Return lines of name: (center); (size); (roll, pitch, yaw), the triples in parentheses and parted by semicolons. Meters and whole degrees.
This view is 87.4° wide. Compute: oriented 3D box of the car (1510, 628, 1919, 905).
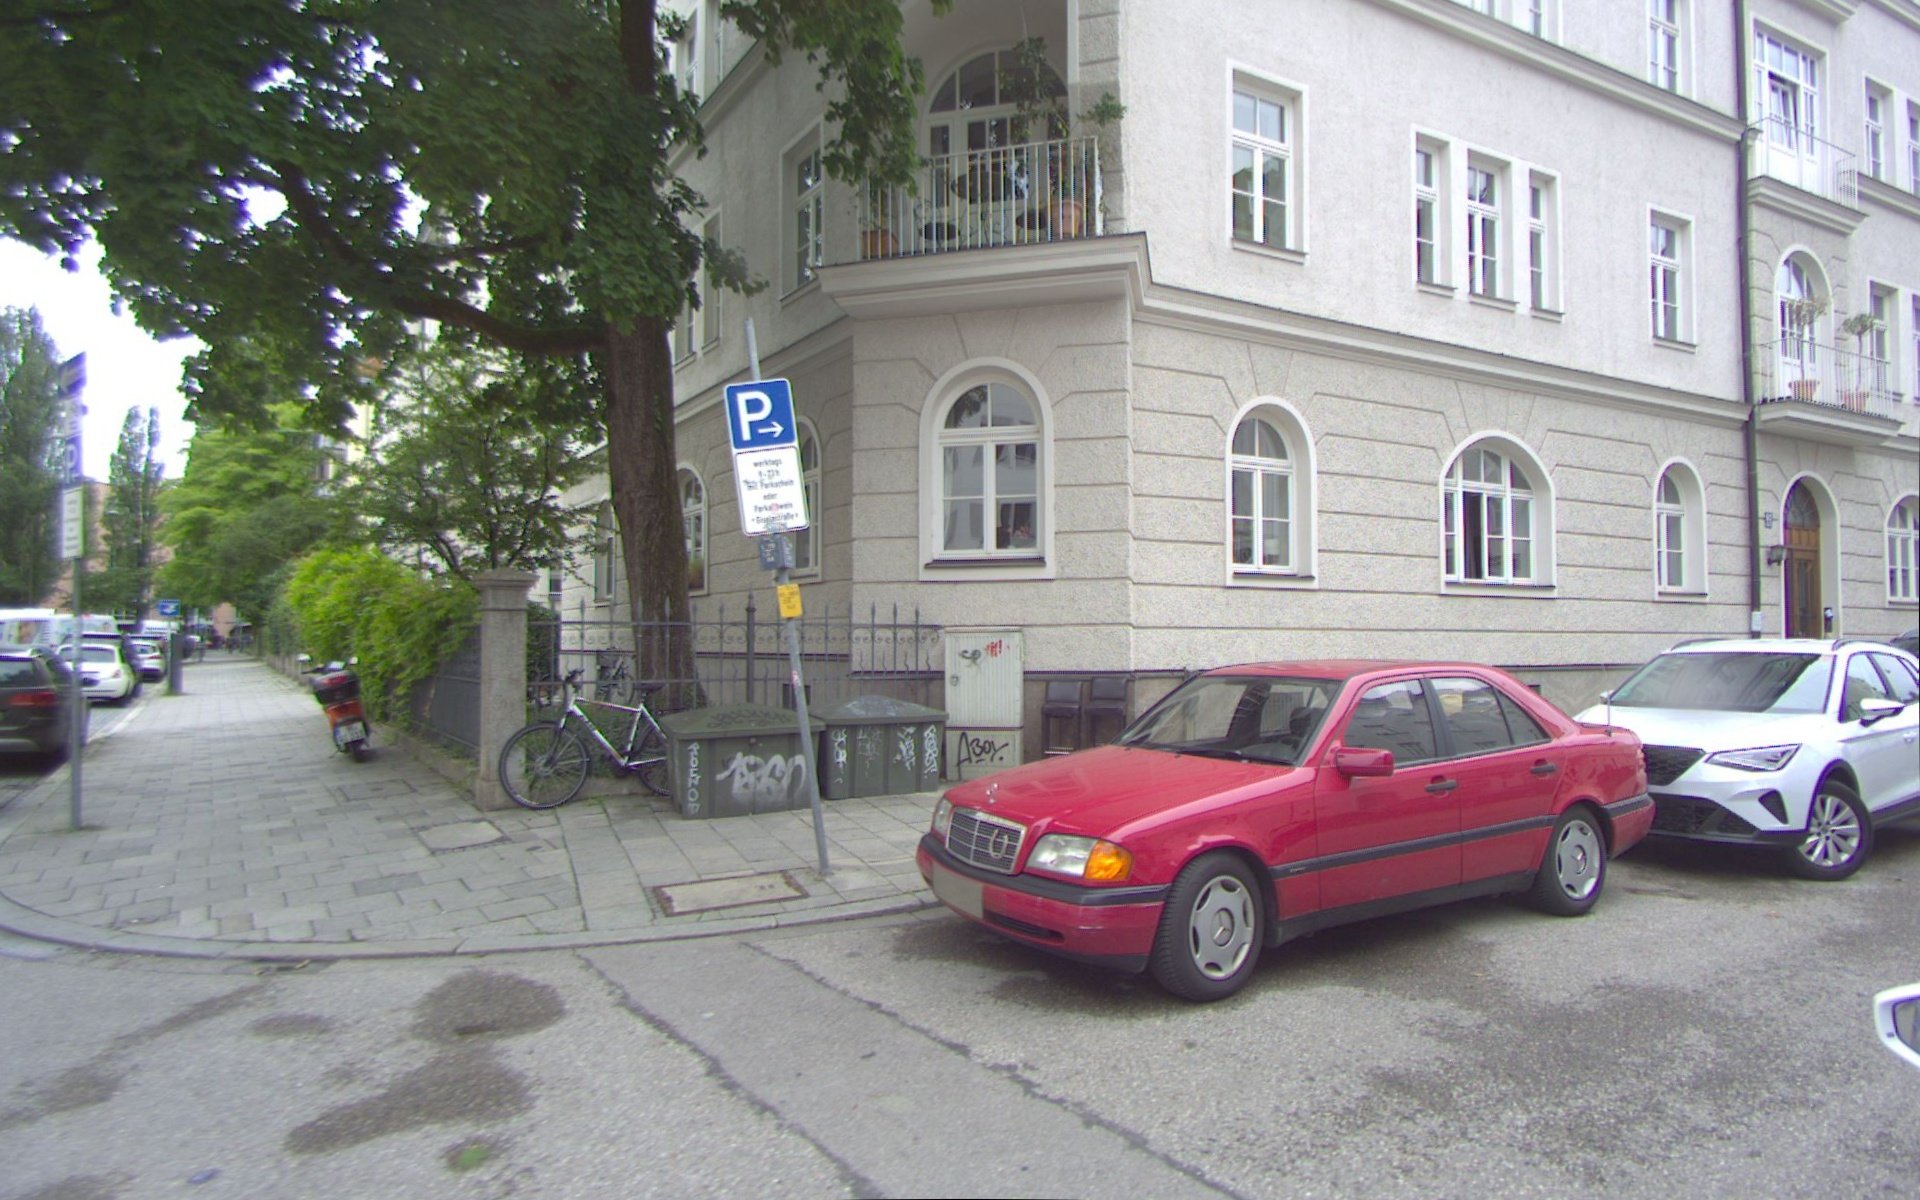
car: (6.064, 1.021, 7.561); (3.907, 1.588, 1.685); (1, -2, -32)

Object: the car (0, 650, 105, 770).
car: (-12.608, 1.354, 13.173); (1.777, 1.379, 3.960); (2, -3, -36)

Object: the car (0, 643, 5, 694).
car: (-25.808, 1.794, 25.495); (1.765, 1.393, 4.385); (1, -3, -37)

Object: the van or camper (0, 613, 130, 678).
van or camper: (-30.691, 1.504, 33.905); (4.536, 2.071, 2.099); (0, -2, 21)

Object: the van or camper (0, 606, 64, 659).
van or camper: (-51.225, 1.793, 55.404); (2.056, 2.822, 4.386); (0, -2, -33)

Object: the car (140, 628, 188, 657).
car: (-43.908, 2.337, 55.450); (1.982, 1.572, 3.957); (1, -3, -38)

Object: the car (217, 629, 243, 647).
car: (-73.253, 3.833, 100.830); (1.982, 1.806, 3.957); (1, -3, -38)

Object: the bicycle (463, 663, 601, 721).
bicycle: (-7.061, 1.506, 16.623); (1.934, 0.912, 0.858); (-1, -2, 10)

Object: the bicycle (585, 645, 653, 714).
bicycle: (-6.212, 1.396, 18.235); (0.846, 1.159, 2.388); (1, -2, -27)

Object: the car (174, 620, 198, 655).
car: (-85.491, 4.152, 110.947); (1.982, 3.714, 6.238); (1, -2, -38)

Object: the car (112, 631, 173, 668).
car: (-36.681, 2.197, 45.160); (1.982, 1.572, 3.957); (1, -3, -38)

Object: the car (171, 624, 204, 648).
car: (-60.004, 2.826, 78.055); (1.982, 1.806, 3.957); (1, -3, -38)

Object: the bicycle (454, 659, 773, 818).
bicycle: (-3.023, 1.152, 9.062); (2.633, 1.179, 0.796); (2, -3, -44)

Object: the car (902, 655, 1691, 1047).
car: (2.021, 1.044, 5.624); (4.426, 1.411, 1.674); (1, -3, -30)

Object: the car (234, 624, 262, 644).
car: (-66.251, 3.164, 93.429); (1.982, 1.806, 3.958); (1, -3, -37)

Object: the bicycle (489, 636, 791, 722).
bicycle: (-3.543, 0.847, 11.411); (3.185, 0.869, 0.800); (1, -2, -35)

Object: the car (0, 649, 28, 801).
car: (-9.610, 1.167, 8.651); (1.777, 1.477, 3.960); (3, -4, -36)

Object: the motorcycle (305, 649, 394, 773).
motorcycle: (-7.264, 1.238, 12.001); (0.805, 1.288, 2.740); (1, -2, -31)

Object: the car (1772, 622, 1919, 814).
car: (10.249, 1.086, 10.104); (4.162, 1.699, 1.828); (1, -2, -29)

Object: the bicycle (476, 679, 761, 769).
bicycle: (-4.067, 1.446, 12.203); (3.185, 0.869, 0.813); (1, -2, -35)

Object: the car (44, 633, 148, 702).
car: (-24.399, 1.844, 28.488); (1.982, 1.795, 3.957); (1, -3, -38)

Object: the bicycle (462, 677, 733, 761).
bicycle: (-4.580, 1.473, 12.922); (3.185, 0.869, 0.813); (1, -2, -35)

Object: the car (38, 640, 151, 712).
car: (-21.535, 1.815, 25.079); (1.984, 1.572, 3.953); (2, -2, -40)

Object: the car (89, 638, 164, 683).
car: (-30.924, 2.214, 37.366); (1.982, 1.572, 3.957); (1, -3, -38)

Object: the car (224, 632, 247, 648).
car: (-81.129, 4.468, 112.481); (1.982, 1.806, 3.957); (1, -3, -38)
